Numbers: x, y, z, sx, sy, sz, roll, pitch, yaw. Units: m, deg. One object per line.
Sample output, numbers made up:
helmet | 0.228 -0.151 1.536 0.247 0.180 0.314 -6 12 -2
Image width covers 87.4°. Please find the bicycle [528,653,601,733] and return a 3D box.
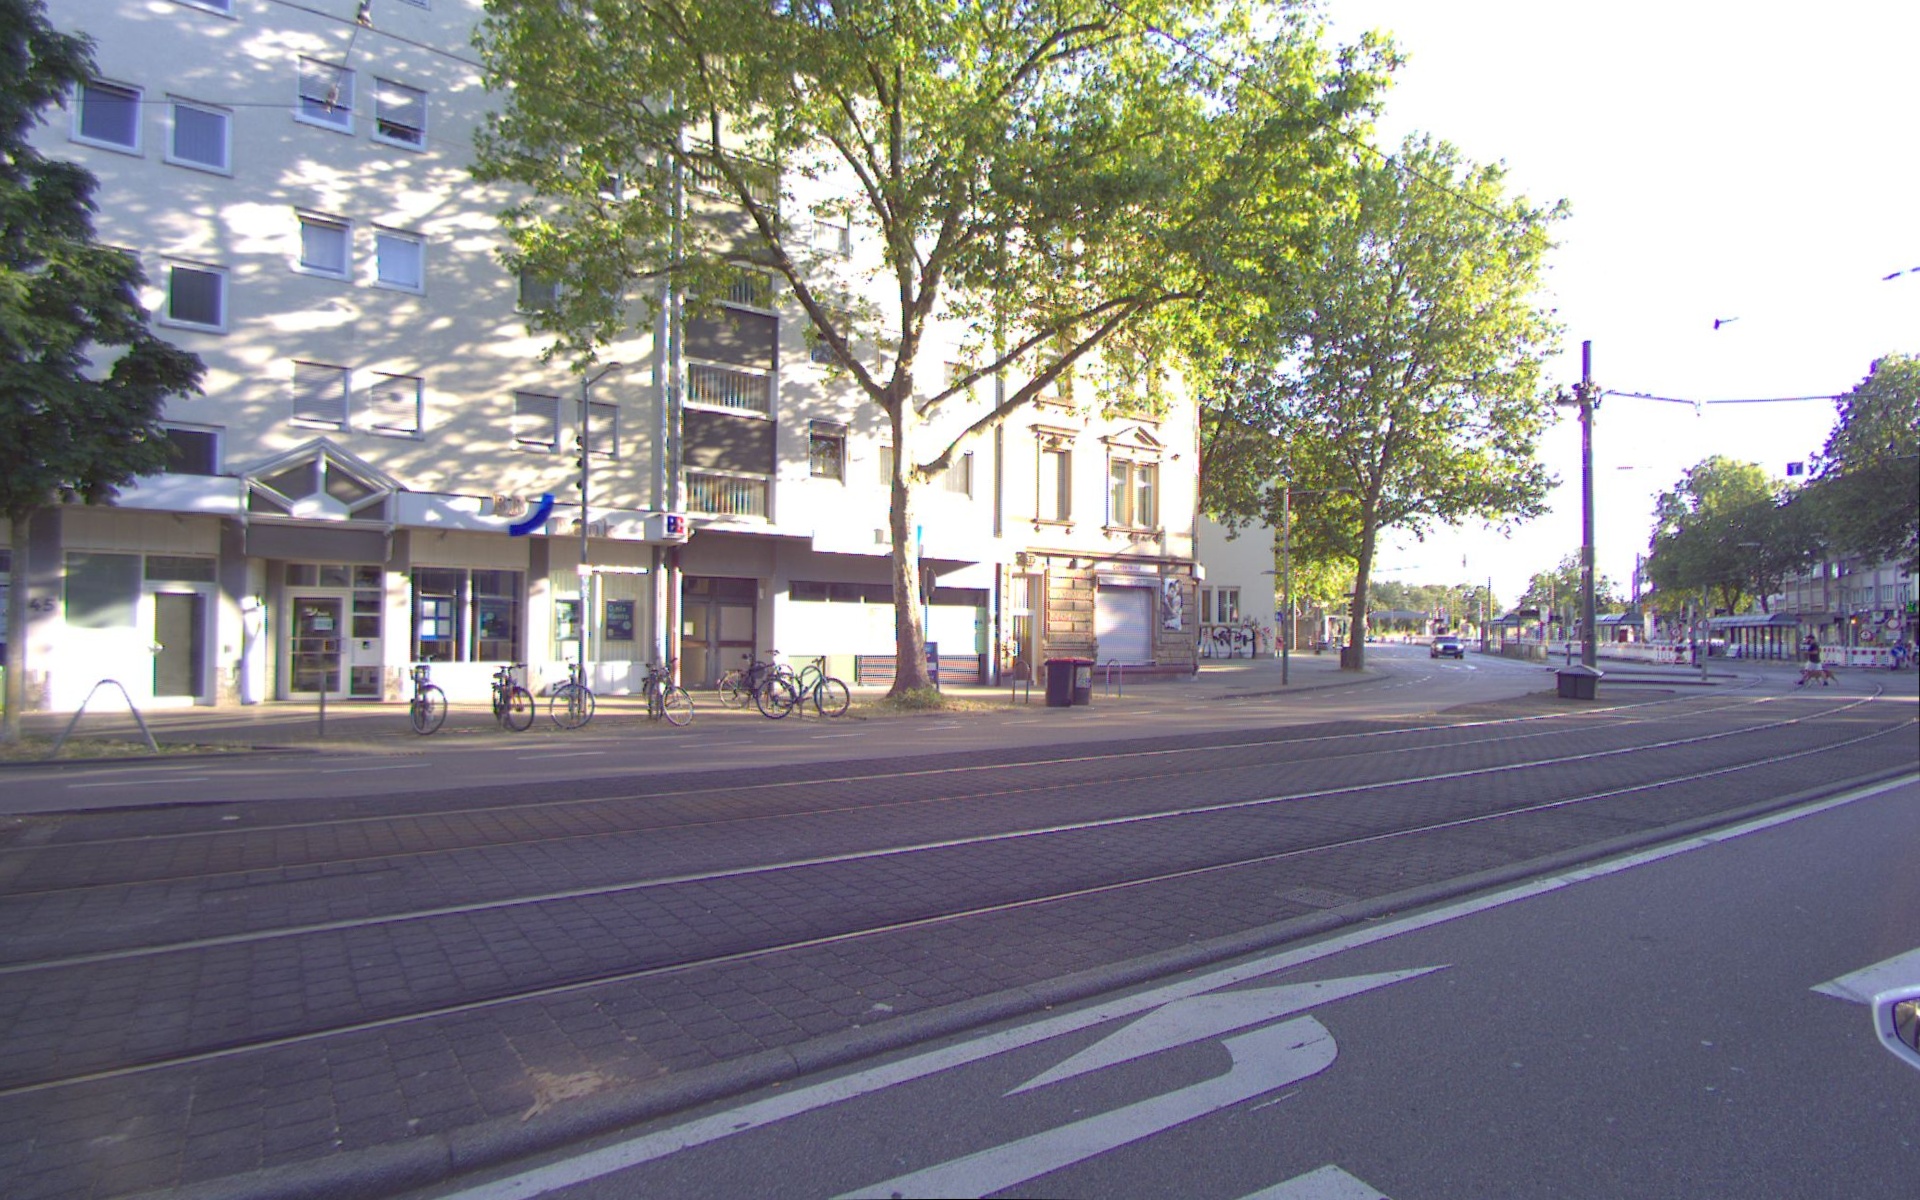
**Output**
bicycle | -6.351 1.449 16.071 0.724 1.128 1.729 2 -1 -34

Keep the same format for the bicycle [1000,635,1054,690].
bicycle | 1.838 1.704 27.811 0.469 1.430 1.956 1 -1 -29

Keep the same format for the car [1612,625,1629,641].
car | 89.055 4.442 135.463 1.593 2.040 3.110 0 -2 26

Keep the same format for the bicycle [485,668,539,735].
bicycle | -6.982 1.548 15.609 0.467 0.900 1.729 2 -1 -34

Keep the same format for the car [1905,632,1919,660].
car | 64.583 3.103 66.136 1.960 1.815 4.000 2 -1 20

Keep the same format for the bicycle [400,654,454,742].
bicycle | -7.831 1.400 14.742 0.506 1.153 1.729 2 -1 -34

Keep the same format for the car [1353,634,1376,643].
car | 78.235 7.389 194.277 3.919 1.661 1.792 0 -2 13

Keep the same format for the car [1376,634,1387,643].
car | 79.449 7.209 189.322 1.814 1.706 3.716 0 -2 23

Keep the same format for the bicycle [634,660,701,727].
bicycle | -5.016 1.569 17.146 0.584 1.002 1.729 2 -1 -34

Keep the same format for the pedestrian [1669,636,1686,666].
pedestrian | 39.389 2.794 55.115 0.645 1.678 0.444 0 -2 18

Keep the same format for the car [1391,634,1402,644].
car | 78.770 7.045 181.340 1.814 1.706 3.715 -2 -2 23

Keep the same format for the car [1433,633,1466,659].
car | 32.977 3.107 67.697 1.962 1.661 3.997 0 -2 25

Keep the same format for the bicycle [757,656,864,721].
bicycle | -2.687 1.572 18.089 1.800 1.091 0.649 2 -2 -29

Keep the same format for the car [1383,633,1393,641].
car | 89.566 7.757 210.272 1.814 1.706 3.716 0 -2 23

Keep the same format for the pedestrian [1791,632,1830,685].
pedestrian | 28.839 1.975 34.068 0.510 1.750 0.893 1 -2 -27

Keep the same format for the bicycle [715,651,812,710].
bicycle | -3.906 1.584 20.003 1.777 1.132 0.617 2 -2 -29
